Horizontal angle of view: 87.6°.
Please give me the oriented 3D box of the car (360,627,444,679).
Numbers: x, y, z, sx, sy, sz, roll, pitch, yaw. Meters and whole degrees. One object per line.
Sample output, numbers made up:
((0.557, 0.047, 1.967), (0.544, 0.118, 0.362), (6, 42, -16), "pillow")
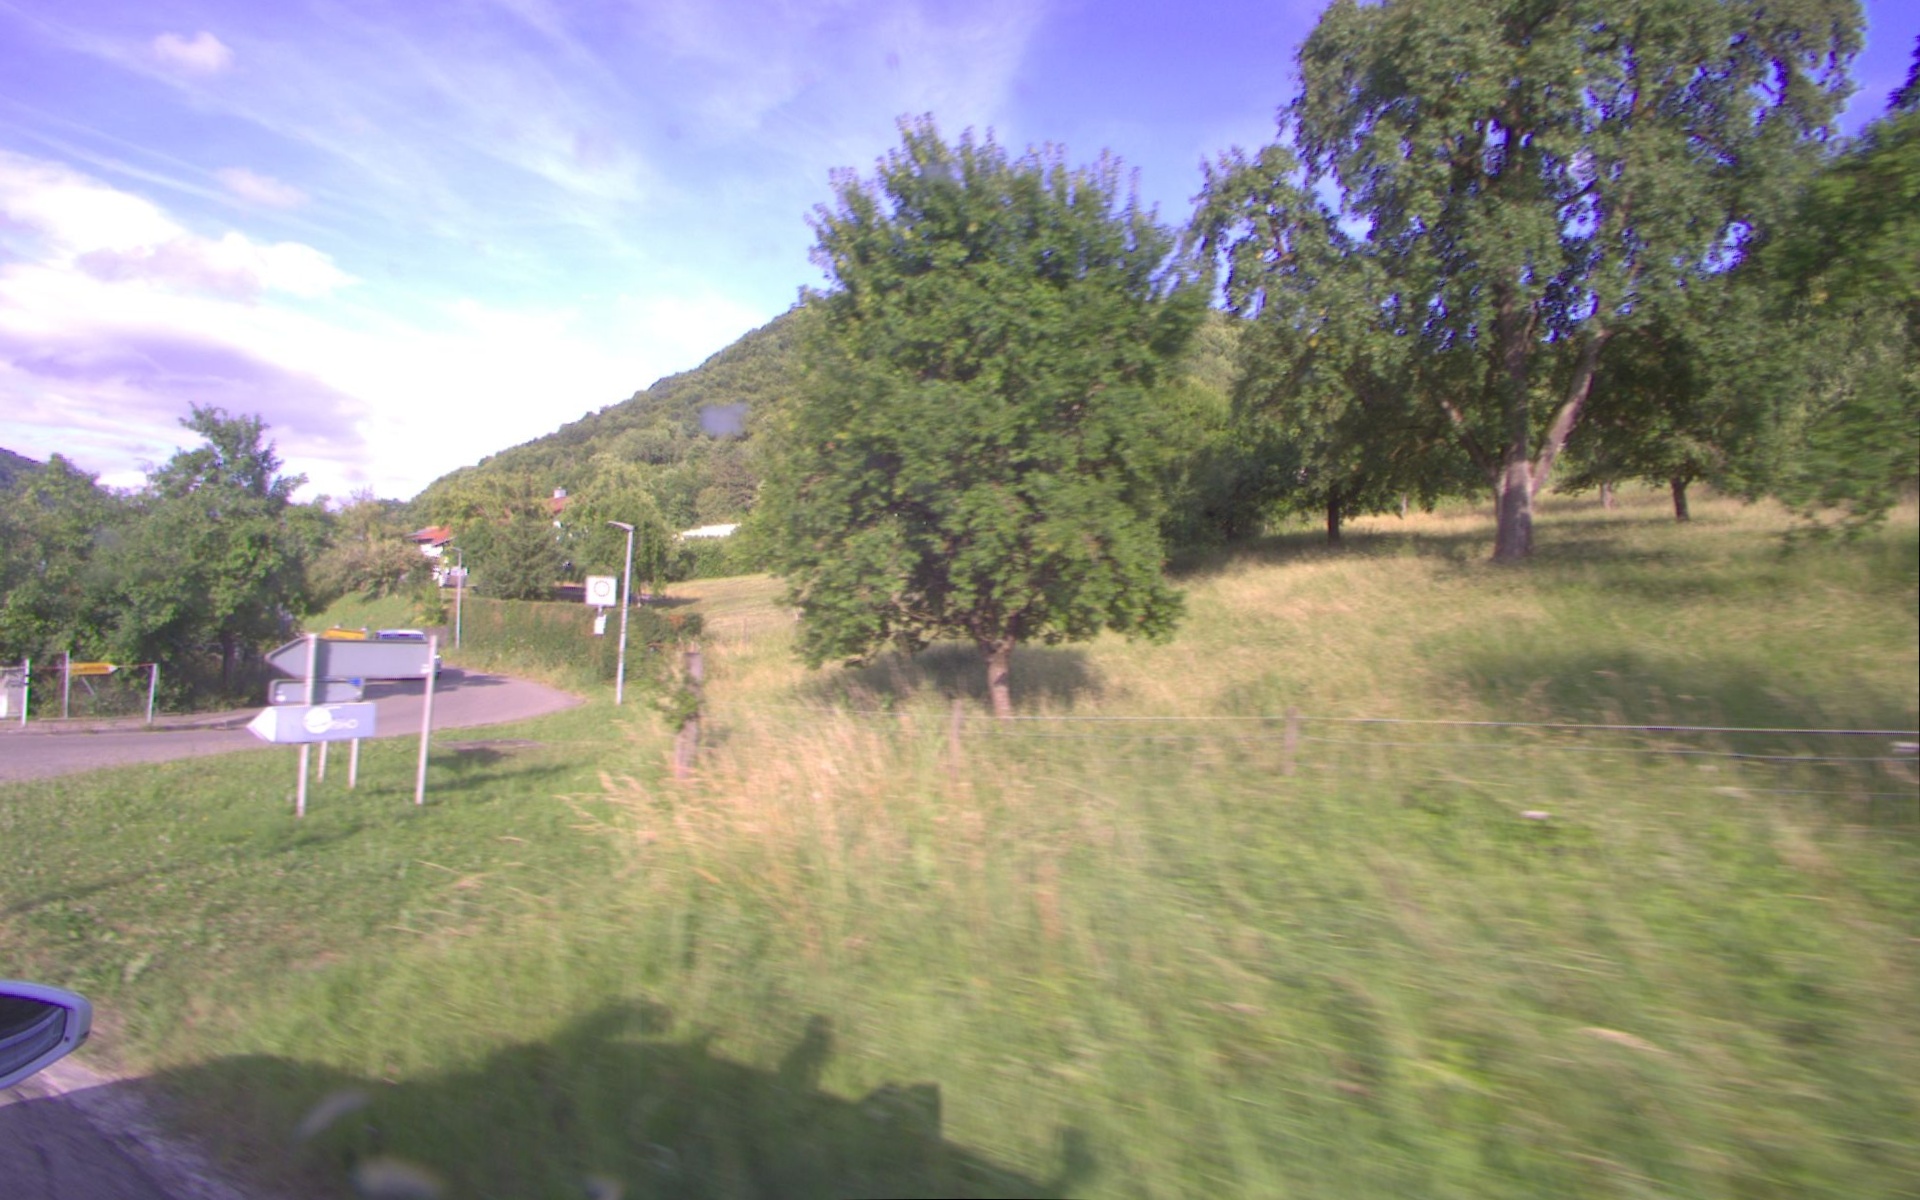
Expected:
((-19.099, 1.761, 34.178), (1.852, 1.630, 4.537), (2, -2, -38), "car")
